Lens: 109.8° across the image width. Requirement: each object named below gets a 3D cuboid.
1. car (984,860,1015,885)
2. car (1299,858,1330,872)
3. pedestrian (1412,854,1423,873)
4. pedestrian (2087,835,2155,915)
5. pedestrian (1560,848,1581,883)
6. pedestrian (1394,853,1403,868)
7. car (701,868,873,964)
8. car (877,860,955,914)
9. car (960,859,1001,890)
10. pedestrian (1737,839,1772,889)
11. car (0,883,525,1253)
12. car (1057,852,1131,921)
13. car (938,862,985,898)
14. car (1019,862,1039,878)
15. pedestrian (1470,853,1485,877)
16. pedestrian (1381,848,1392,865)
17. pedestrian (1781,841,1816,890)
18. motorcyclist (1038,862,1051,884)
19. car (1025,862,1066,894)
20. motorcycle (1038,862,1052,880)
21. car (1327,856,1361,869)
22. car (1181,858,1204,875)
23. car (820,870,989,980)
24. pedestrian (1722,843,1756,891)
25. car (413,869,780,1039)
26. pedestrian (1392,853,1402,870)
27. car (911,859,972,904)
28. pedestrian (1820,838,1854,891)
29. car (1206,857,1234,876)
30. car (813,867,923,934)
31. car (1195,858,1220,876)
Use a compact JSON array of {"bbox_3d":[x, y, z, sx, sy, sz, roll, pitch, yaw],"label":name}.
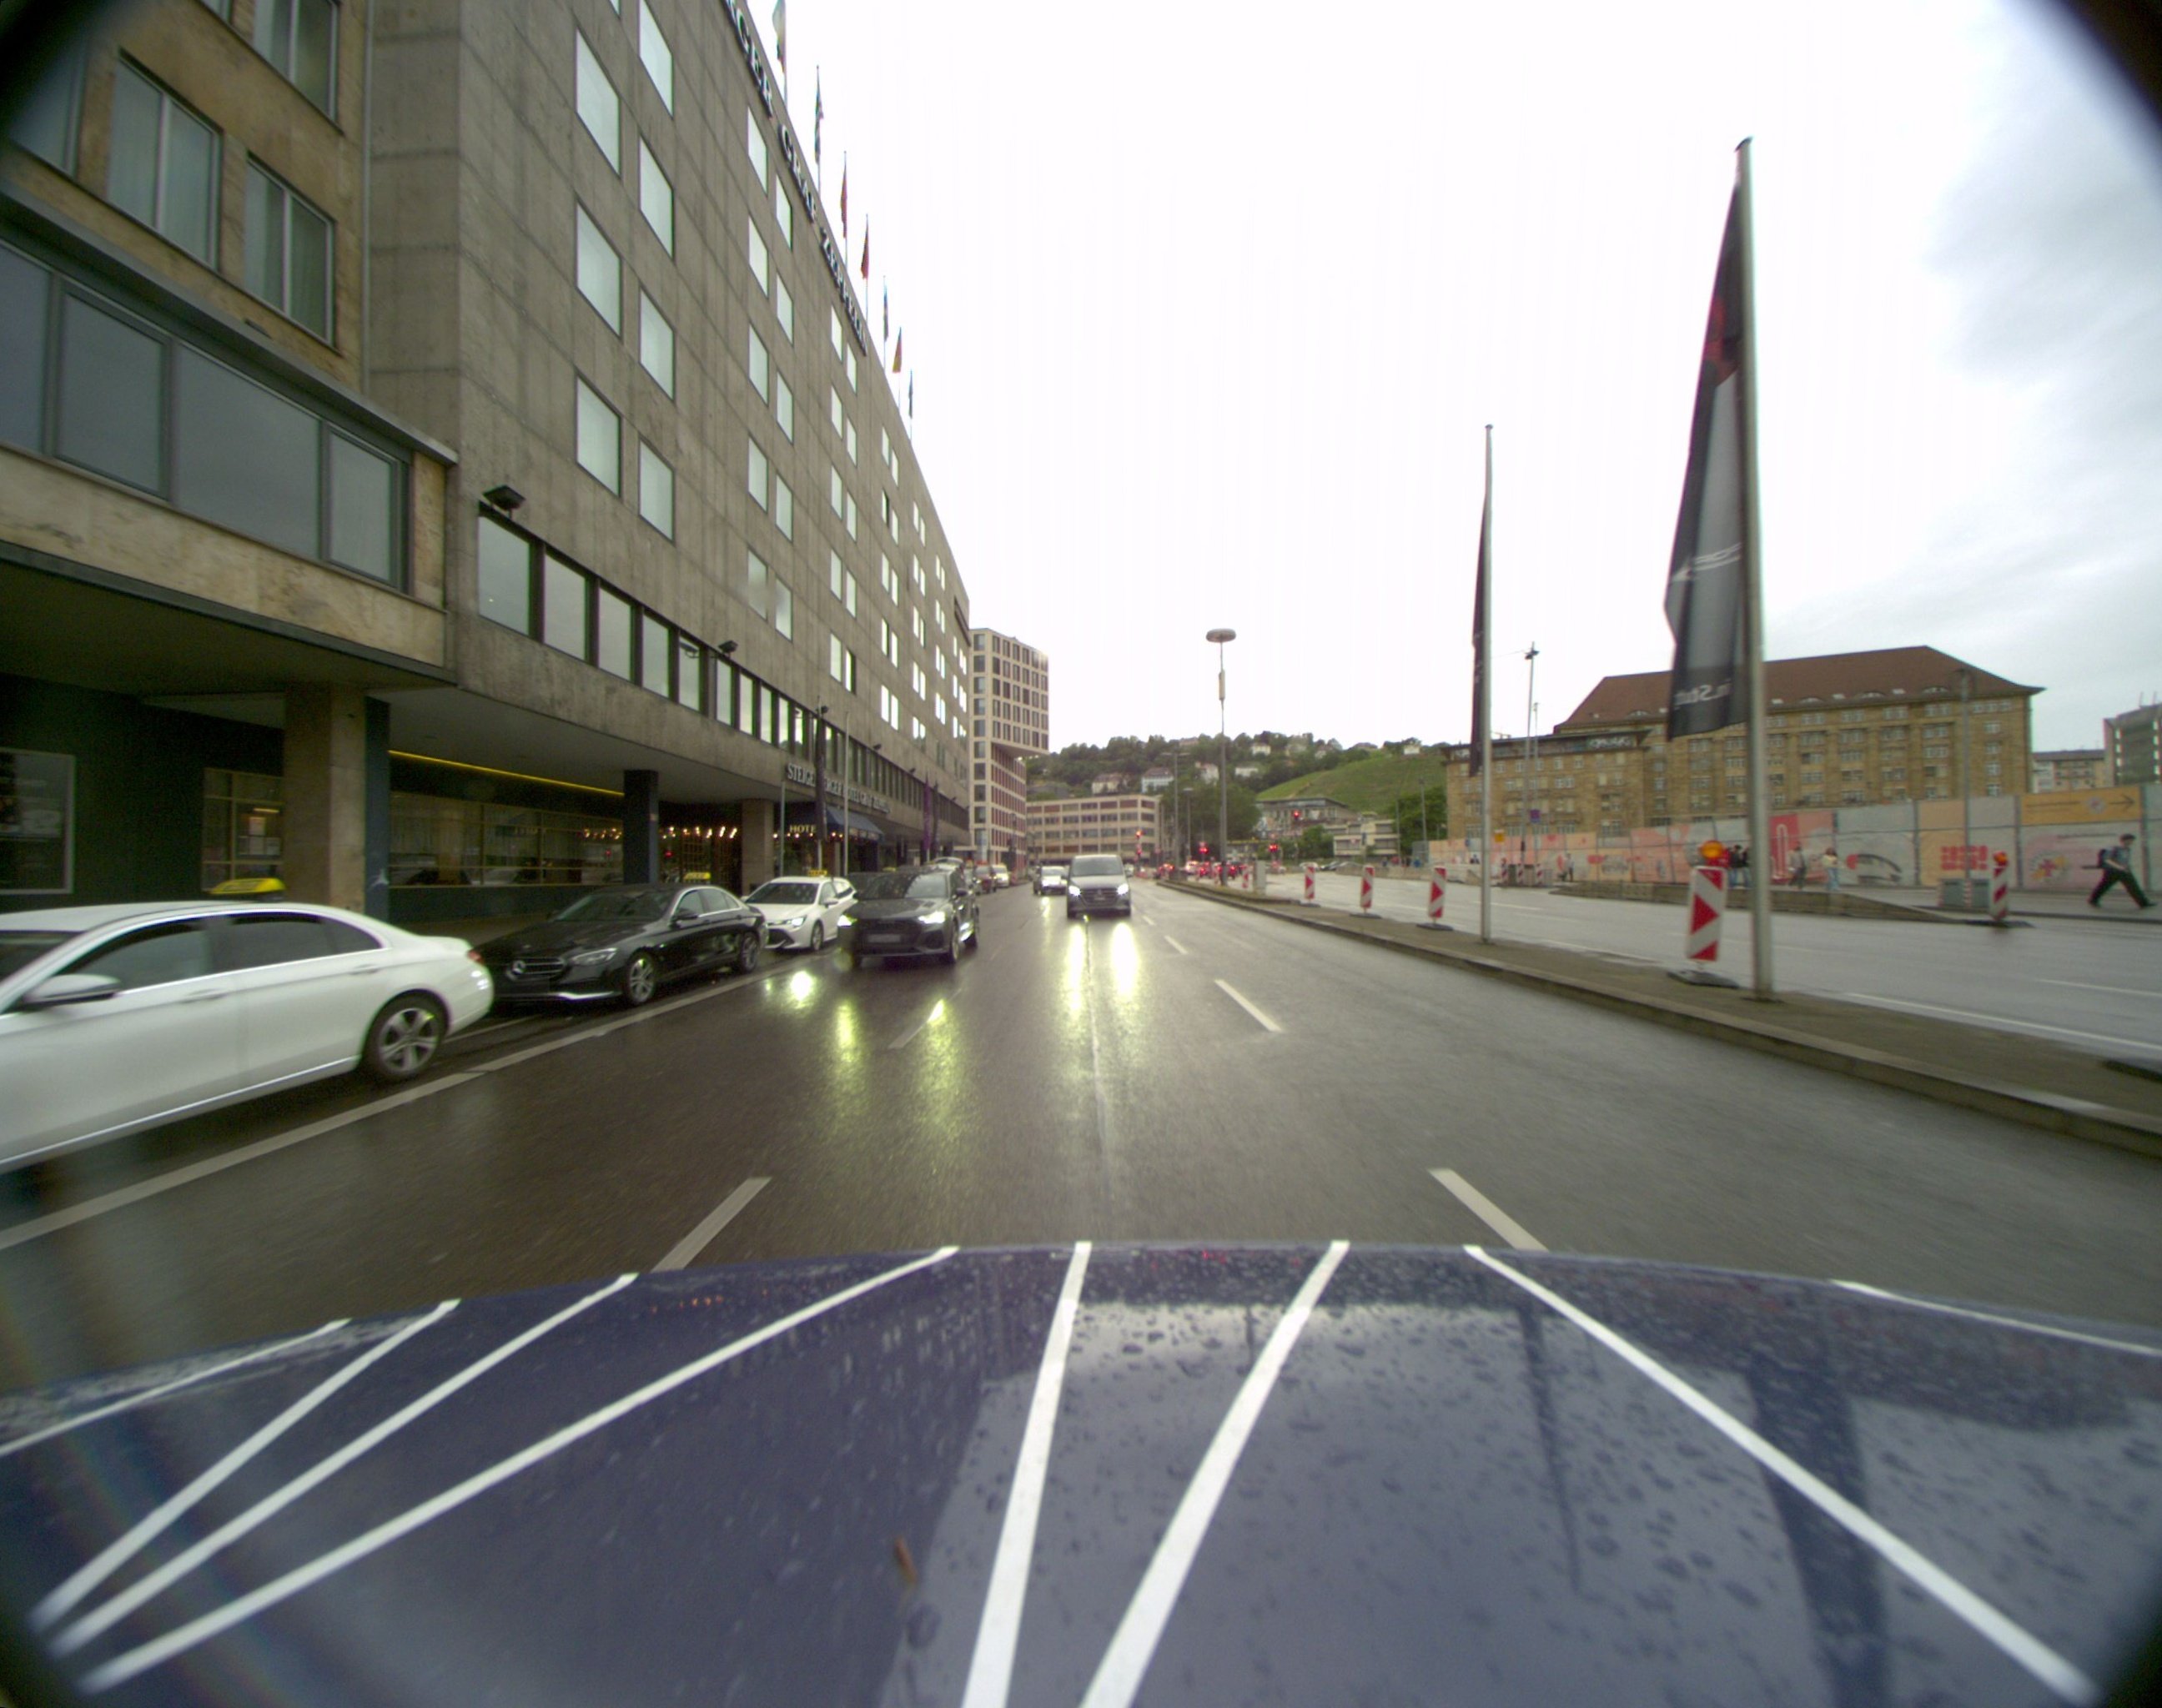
[{"bbox_3d":[-5.805,1.277,54.507,1.731,1.604,4.001,-2,0,0],"label":"car"},{"bbox_3d":[34.646,1.640,112.853,4.194,1.846,1.832,-2,0,6],"label":"car"},{"bbox_3d":[28.834,0.807,65.129,0.715,1.606,0.544,-2,1,1],"label":"pedestrian"},{"bbox_3d":[24.665,0.486,18.032,0.587,1.825,0.717,-2,1,1],"label":"pedestrian"},{"bbox_3d":[26.533,0.626,41.200,0.664,1.825,0.720,-2,1,1],"label":"pedestrian"},{"bbox_3d":[32.813,0.670,78.573,0.715,1.606,0.544,-2,1,1],"label":"pedestrian"},{"bbox_3d":[-6.044,1.183,16.315,1.731,1.583,4.814,-2,0,0],"label":"car"},{"bbox_3d":[-6.022,1.159,28.302,1.731,1.732,4.814,-2,0,0],"label":"car"},{"bbox_3d":[-5.800,1.168,44.186,1.731,1.604,4.001,-2,0,0],"label":"car"},{"bbox_3d":[25.090,0.365,28.325,0.714,1.825,0.718,-2,1,19],"label":"pedestrian"},{"bbox_3d":[-6.125,1.124,4.503,1.879,1.627,5.011,-2,0,0],"label":"car"},{"bbox_3d":[0.413,0.886,23.653,1.998,1.849,5.160,-2,0,1],"label":"car"},{"bbox_3d":[-6.067,1.288,39.007,1.731,1.604,4.001,-2,0,0],"label":"car"},{"bbox_3d":[-5.230,1.592,76.527,1.869,1.461,3.999,-2,0,-2],"label":"car"},{"bbox_3d":[27.462,0.769,52.640,0.715,1.606,0.544,-2,1,1],"label":"pedestrian"},{"bbox_3d":[29.208,0.237,72.657,0.715,1.606,0.544,-2,1,1],"label":"pedestrian"},{"bbox_3d":[25.692,0.410,27.211,0.714,1.734,0.564,-2,1,21],"label":"pedestrian"},{"bbox_3d":[-2.634,1.376,55.219,0.861,1.519,0.844,-2,1,1],"label":"motorcyclist"},{"bbox_3d":[-1.823,1.229,40.326,1.898,1.477,4.000,-2,0,0],"label":"car"},{"bbox_3d":[-2.635,1.223,55.180,0.848,1.299,1.965,-2,0,1],"label":"motorcycle"},{"bbox_3d":[33.968,1.129,98.135,3.993,1.622,2.002,-1,0,14],"label":"car"},{"bbox_3d":[11.999,1.276,81.665,1.785,1.684,3.916,-2,0,-1],"label":"car"},{"bbox_3d":[-2.929,1.129,13.644,1.883,1.493,4.342,-2,0,1],"label":"car"},{"bbox_3d":[24.149,0.478,27.892,0.714,1.723,0.718,-2,1,19],"label":"pedestrian"},{"bbox_3d":[-6.093,1.110,10.462,1.879,1.627,4.814,-2,0,0],"label":"car"},{"bbox_3d":[30.194,0.725,72.598,0.715,1.606,0.544,-2,1,1],"label":"pedestrian"},{"bbox_3d":[-6.046,1.148,33.500,1.731,1.732,4.814,-2,0,0],"label":"car"},{"bbox_3d":[26.433,0.374,26.578,0.661,1.825,0.556,-2,1,21],"label":"pedestrian"},{"bbox_3d":[12.328,1.076,67.593,1.785,1.684,3.917,-1,0,0],"label":"car"},{"bbox_3d":[-6.031,1.247,22.130,1.731,1.583,4.814,-2,0,0],"label":"car"},{"bbox_3d":[12.468,1.273,75.096,1.785,1.684,3.916,-2,0,-1],"label":"car"}]
